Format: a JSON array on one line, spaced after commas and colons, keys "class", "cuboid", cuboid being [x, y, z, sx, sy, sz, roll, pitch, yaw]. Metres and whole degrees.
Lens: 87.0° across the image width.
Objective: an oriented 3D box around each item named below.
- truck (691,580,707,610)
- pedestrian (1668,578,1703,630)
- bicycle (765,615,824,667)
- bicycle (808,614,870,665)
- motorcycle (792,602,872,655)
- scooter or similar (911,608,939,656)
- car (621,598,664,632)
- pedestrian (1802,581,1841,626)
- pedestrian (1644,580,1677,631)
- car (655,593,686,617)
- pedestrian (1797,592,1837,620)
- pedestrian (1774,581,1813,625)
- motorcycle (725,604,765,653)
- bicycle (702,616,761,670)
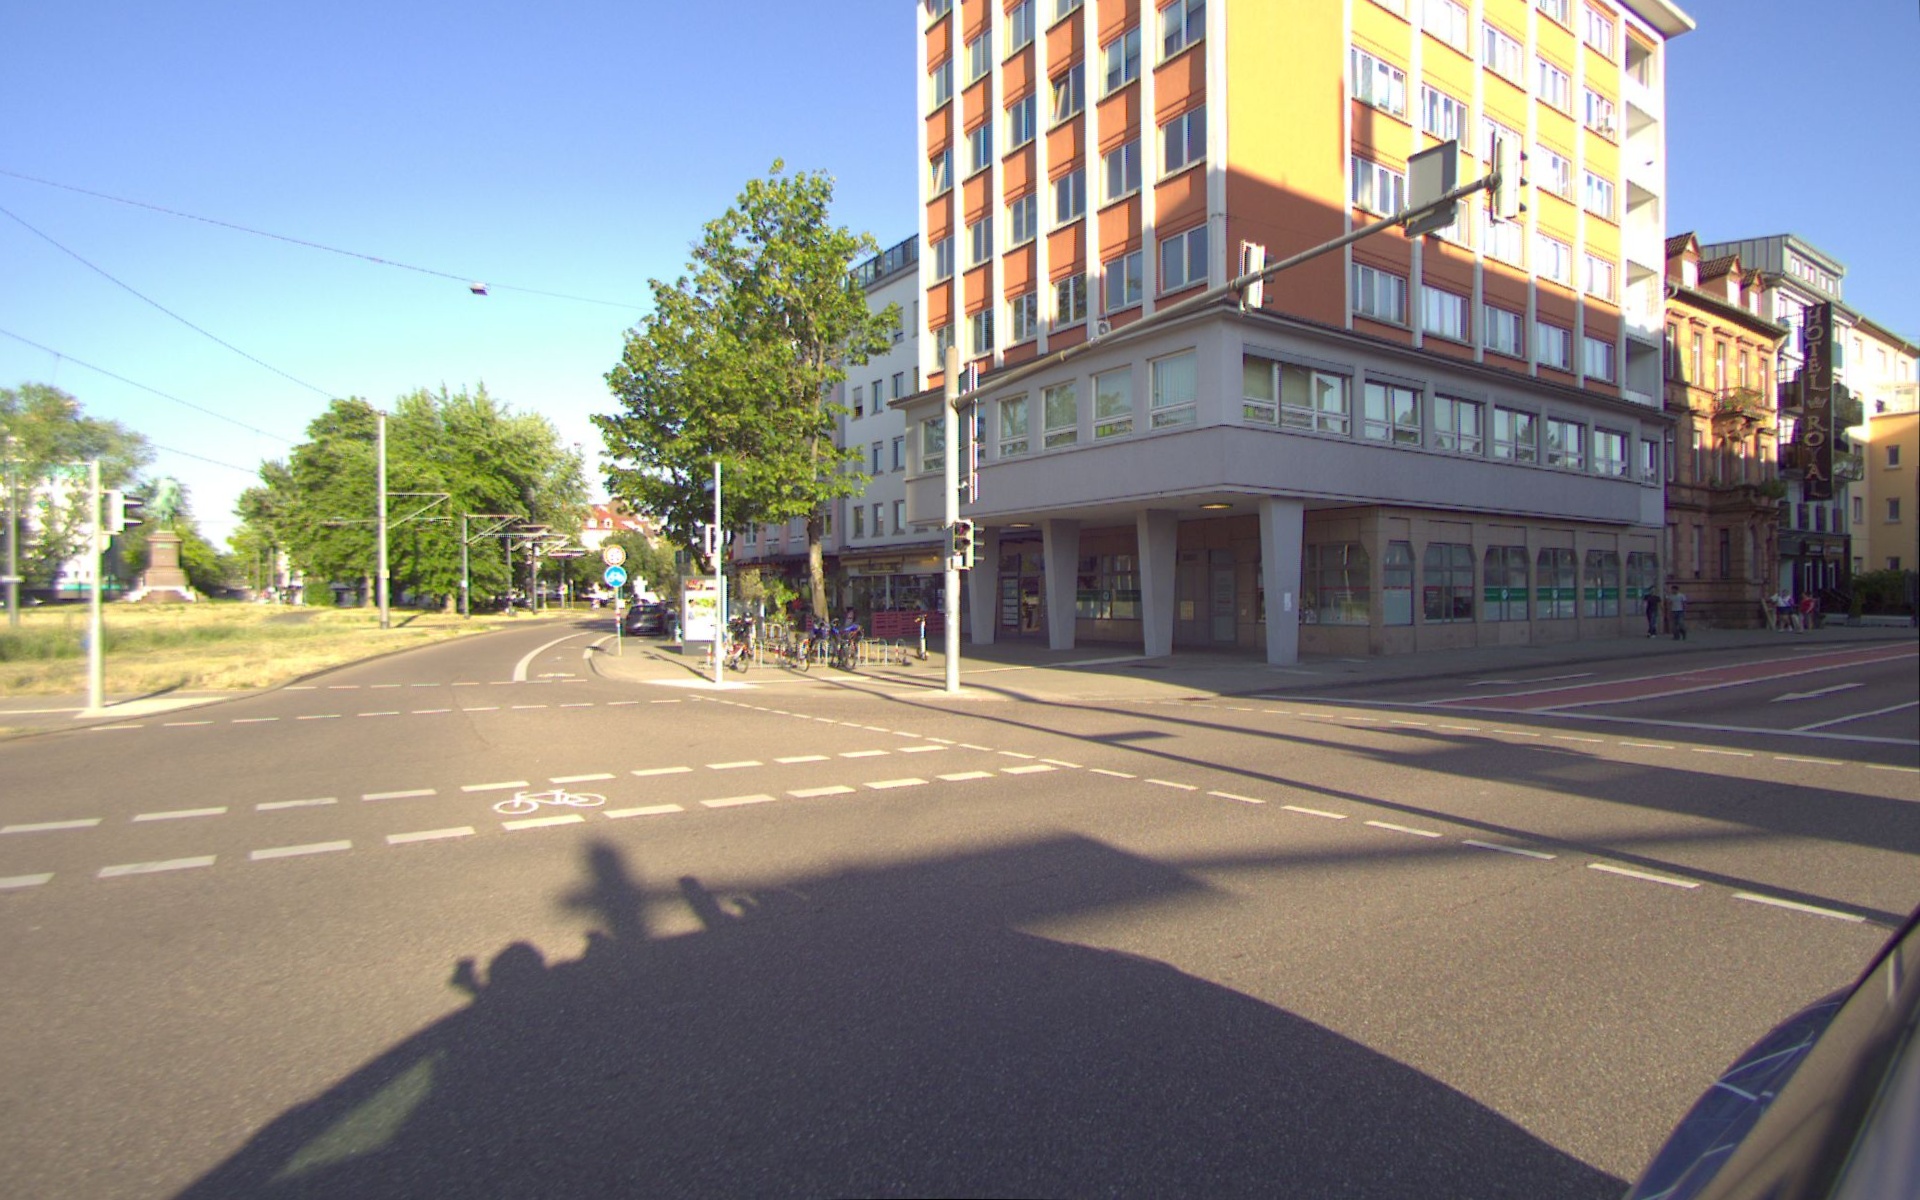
[{"class": "truck", "cuboid": [-29.857, -0.576, 115.982, 1.704, 3.260, 6.420, -1, 1, -14]}, {"class": "pedestrian", "cuboid": [24.996, 0.137, 34.882, 0.991, 1.748, 0.668, -1, 0, -34]}, {"class": "bicycle", "cuboid": [-4.050, 0.977, 24.651, 0.583, 1.128, 2.007, 0, 2, -36]}, {"class": "bicycle", "cuboid": [-3.052, 0.976, 25.391, 0.583, 1.128, 2.061, 0, 2, -37]}, {"class": "motorcycle", "cuboid": [-3.637, 0.789, 28.906, 0.841, 1.410, 2.231, -2, -1, 43]}, {"class": "scooter or similar", "cuboid": [-1.008, 0.897, 28.811, 0.474, 1.251, 1.565, 0, 2, -15]}, {"class": "car", "cuboid": [-14.444, 0.651, 46.214, 1.607, 1.446, 3.643, -1, 1, -14]}, {"class": "pedestrian", "cuboid": [32.628, 0.121, 38.337, 0.991, 1.607, 0.740, -1, 4, -30]}, {"class": "pedestrian", "cuboid": [24.566, 0.189, 35.488, 0.992, 1.748, 0.668, 0, 0, -35]}, {"class": "car", "cuboid": [-20.216, 0.331, 70.861, 1.923, 1.576, 3.881, -1, 1, -14]}, {"class": "pedestrian", "cuboid": [35.417, 0.237, 41.819, 0.907, 1.150, 1.100, 0, 0, -37]}, {"class": "pedestrian", "cuboid": [32.244, 0.100, 39.147, 0.991, 1.607, 0.788, -1, 4, -30]}, {"class": "motorcycle", "cuboid": [-6.316, 0.822, 29.700, 0.872, 1.324, 2.061, -1, 1, -19]}, {"class": "bicycle", "cuboid": [-5.364, 0.980, 23.699, 0.583, 1.129, 1.978, 0, 2, -36]}]
